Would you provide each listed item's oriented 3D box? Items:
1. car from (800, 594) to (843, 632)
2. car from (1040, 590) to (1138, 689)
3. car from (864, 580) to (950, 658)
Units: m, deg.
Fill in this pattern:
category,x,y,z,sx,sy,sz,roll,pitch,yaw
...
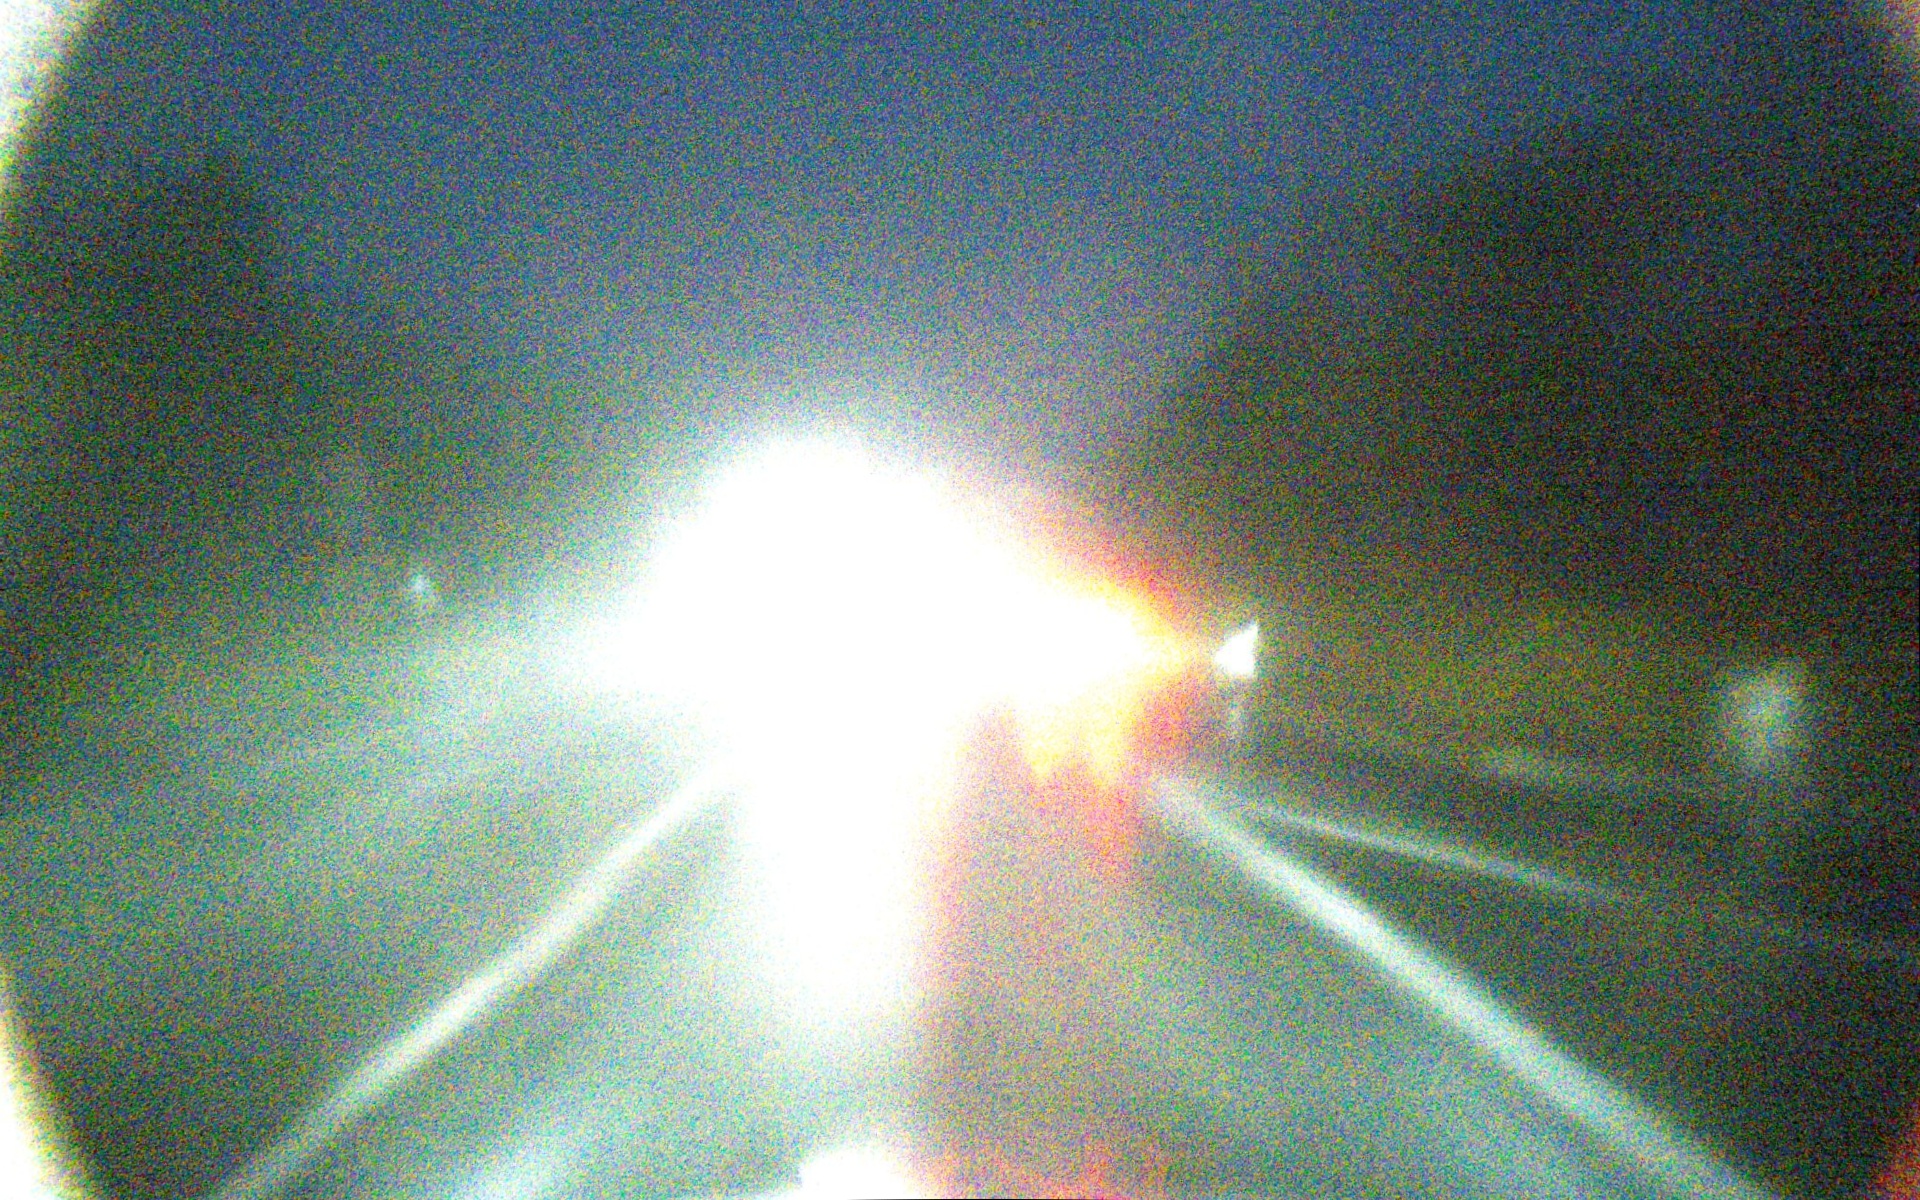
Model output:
category,x,y,z,sx,sy,sz,roll,pitch,yaw
car,-6.321,0.590,75.243,1.774,1.650,3.994,1,0,-7
car,2.869,0.847,37.405,2.049,2.049,4.001,1,0,3
car,-1.248,0.408,37.469,1.773,1.650,3.997,1,0,-4
